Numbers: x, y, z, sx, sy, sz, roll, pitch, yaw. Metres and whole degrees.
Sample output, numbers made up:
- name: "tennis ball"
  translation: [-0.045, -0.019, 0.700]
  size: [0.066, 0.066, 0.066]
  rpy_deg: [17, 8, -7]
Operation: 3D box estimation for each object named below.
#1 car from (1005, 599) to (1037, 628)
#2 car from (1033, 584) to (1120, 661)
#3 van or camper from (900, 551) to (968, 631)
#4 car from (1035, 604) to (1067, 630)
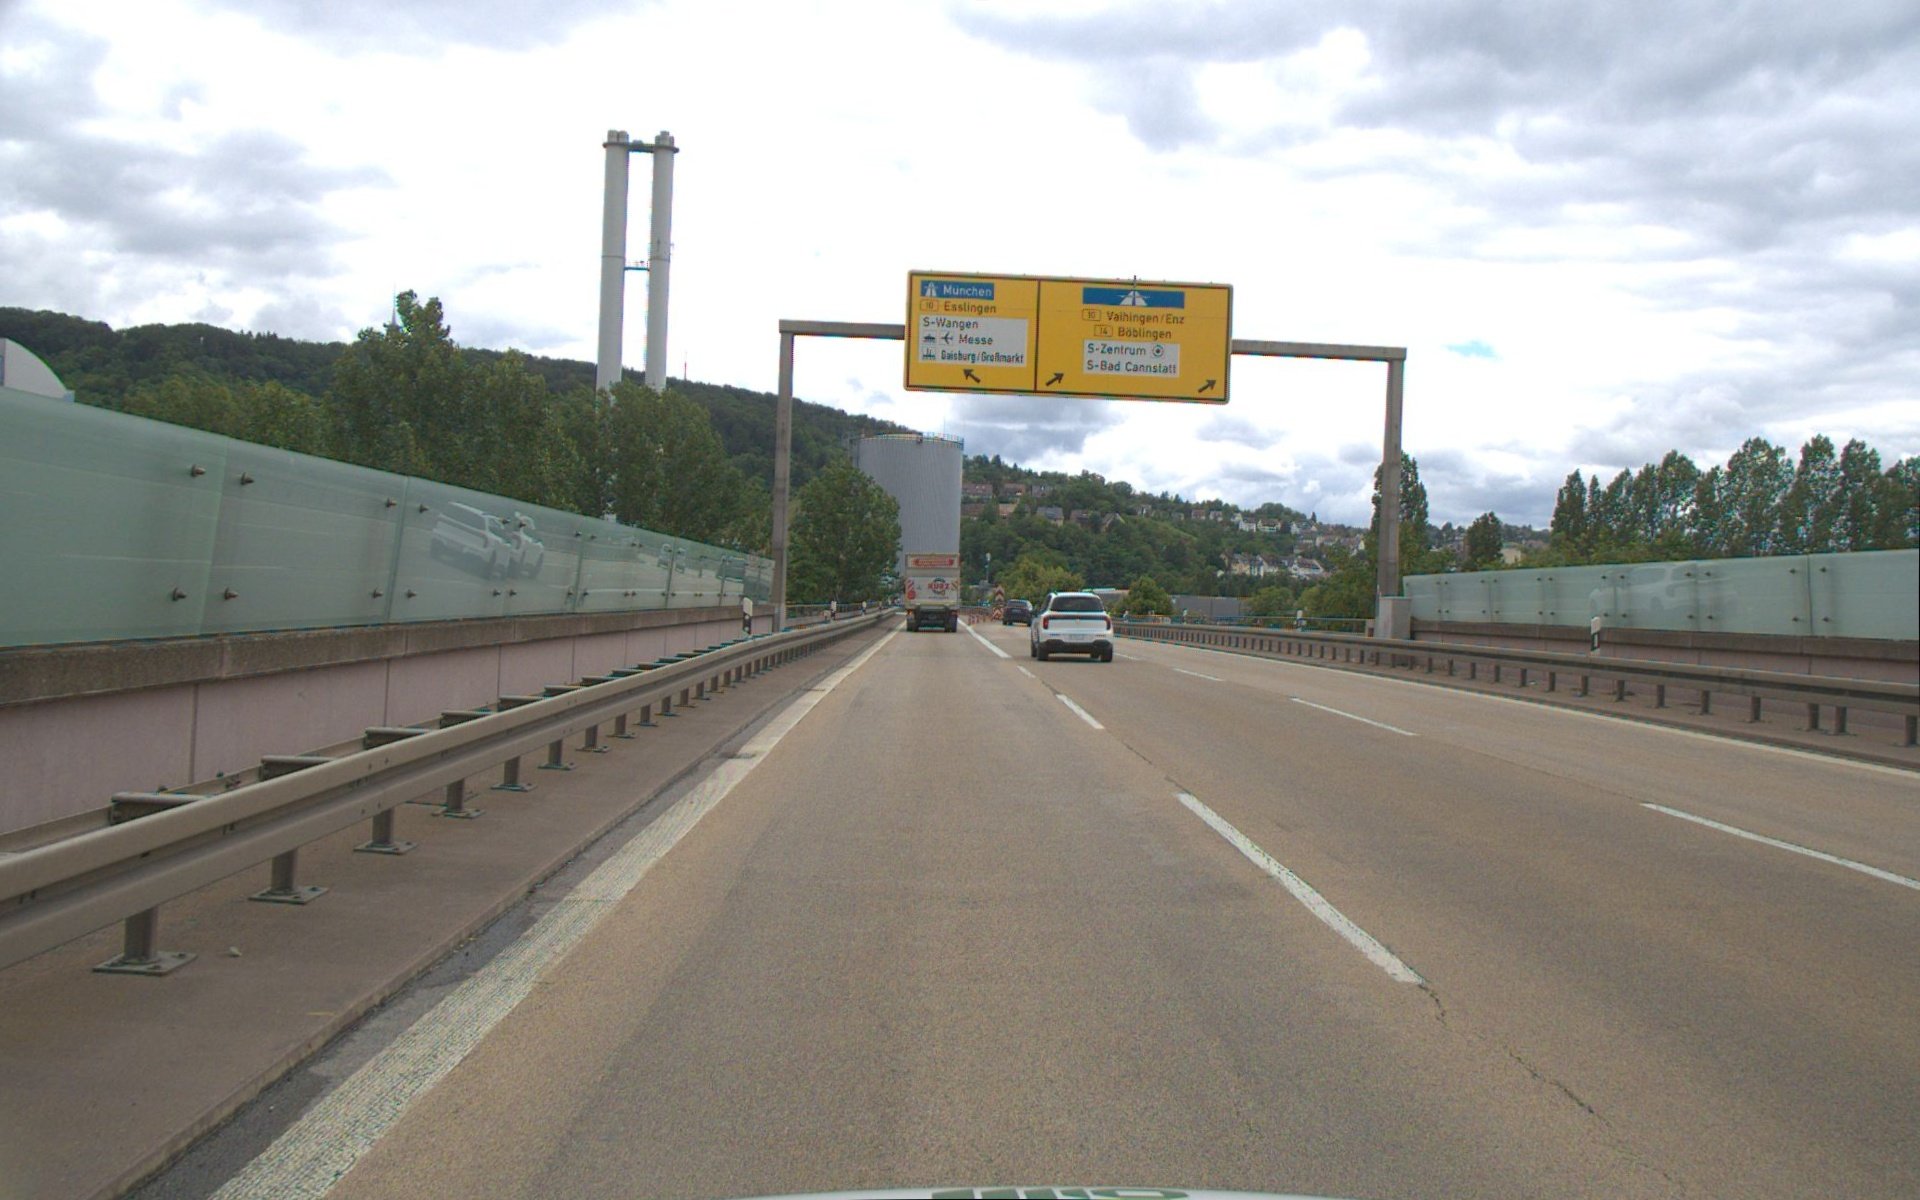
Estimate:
- name: "car"
  translation: [3.913, 0.867, 107.162]
  size: [1.884, 1.817, 4.112]
  rpy_deg: [1, 0, -1]
- name: "car"
  translation: [2.866, 0.522, 41.415]
  size: [1.884, 1.817, 4.113]
  rpy_deg: [1, 0, 0]
- name: "van or camper"
  translation: [-1.188, -0.391, 79.497]
  size: [3.058, 3.642, 8.549]
  rpy_deg: [1, 0, 0]
- name: "car"
  translation: [6.584, 1.198, 119.401]
  size: [1.885, 1.817, 4.111]
  rpy_deg: [1, 0, -3]
